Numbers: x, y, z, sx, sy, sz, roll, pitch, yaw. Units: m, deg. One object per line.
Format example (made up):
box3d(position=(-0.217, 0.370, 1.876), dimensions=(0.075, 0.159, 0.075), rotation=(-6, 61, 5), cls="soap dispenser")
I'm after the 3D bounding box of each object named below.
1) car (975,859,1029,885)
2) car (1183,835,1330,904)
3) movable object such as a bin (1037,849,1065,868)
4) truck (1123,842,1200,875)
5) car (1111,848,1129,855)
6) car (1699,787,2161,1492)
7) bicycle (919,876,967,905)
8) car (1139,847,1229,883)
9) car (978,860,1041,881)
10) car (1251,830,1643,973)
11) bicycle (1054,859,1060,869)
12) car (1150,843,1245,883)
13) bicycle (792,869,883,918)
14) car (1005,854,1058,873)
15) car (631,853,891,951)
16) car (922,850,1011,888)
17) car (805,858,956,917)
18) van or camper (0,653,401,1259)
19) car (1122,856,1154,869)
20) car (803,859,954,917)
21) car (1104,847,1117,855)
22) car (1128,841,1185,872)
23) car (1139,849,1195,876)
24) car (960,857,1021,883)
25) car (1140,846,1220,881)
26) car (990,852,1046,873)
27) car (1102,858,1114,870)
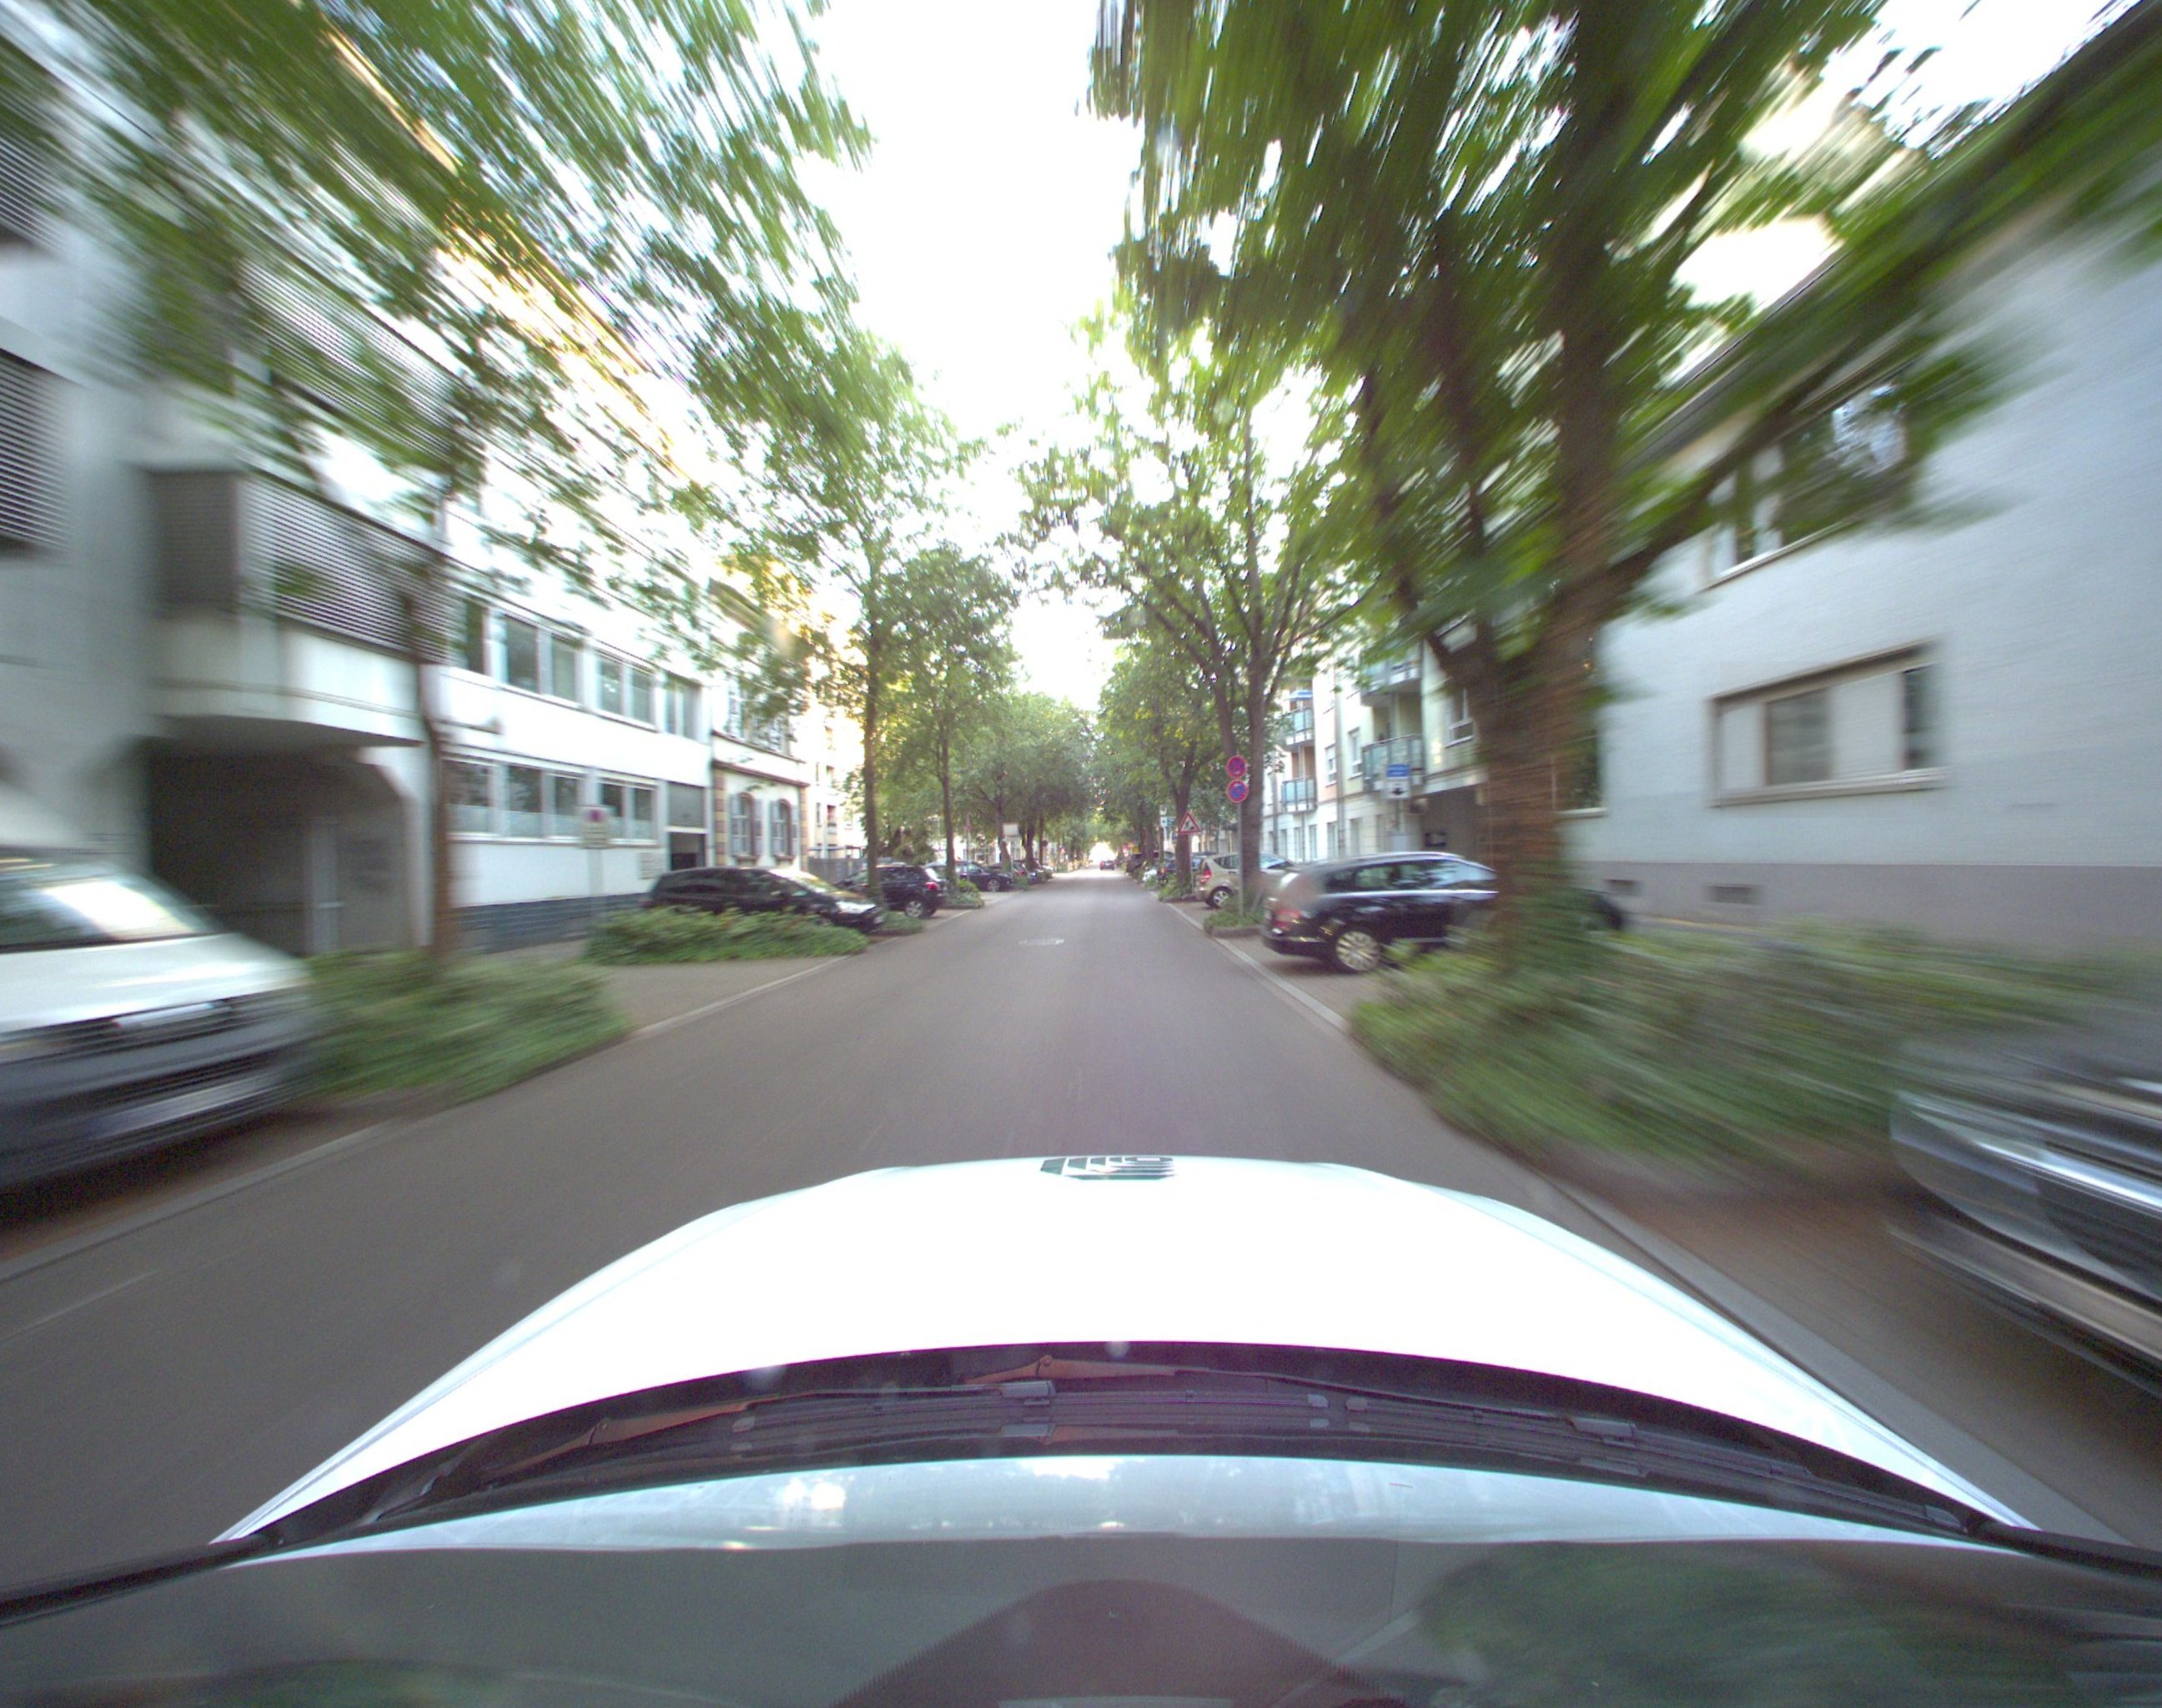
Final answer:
box3d(position=(-5.175, 1.167, 53.706), dimensions=(3.394, 1.609, 1.760), rotation=(-2, 0, -1), cls="car")
box3d(position=(5.076, 0.440, 23.974), dimensions=(3.848, 1.667, 1.926), rotation=(-4, 0, 1), cls="car")
box3d(position=(-4.035, 0.583, 109.948), dimensions=(3.654, 2.333, 2.583), rotation=(-2, 0, -1), cls="movable object such as a bin")
box3d(position=(6.601, 0.371, 67.367), dimensions=(5.983, 2.133, 2.261), rotation=(-6, 0, 1), cls="truck")
box3d(position=(9.468, -0.670, 197.883), dimensions=(3.976, 1.597, 1.999), rotation=(-2, 0, -2), cls="car")
box3d(position=(4.535, 0.524, 2.030), dimensions=(4.428, 1.523, 1.953), rotation=(-2, 0, 2), cls="car")
box3d(position=(-4.796, 1.259, 28.336), dimensions=(1.562, 0.937, 0.481), rotation=(-2, 0, -22), cls="bicycle")
box3d(position=(5.523, 0.569, 44.087), dimensions=(4.557, 1.552, 1.773), rotation=(-5, 0, 0), cls="car")
box3d(position=(-4.867, 1.098, 55.782), dimensions=(4.087, 1.379, 1.746), rotation=(-1, 0, -1), cls="car")
box3d(position=(4.563, 0.587, 10.736), dimensions=(4.336, 1.470, 1.734), rotation=(-4, 0, 6), cls="car")
box3d(position=(-2.806, 1.196, 95.650), dimensions=(0.599, 1.118, 1.800), rotation=(-2, 0, 2), cls="bicycle")
box3d(position=(5.380, 0.430, 37.933), dimensions=(3.978, 1.474, 1.911), rotation=(-5, 0, -3), cls="car")
box3d(position=(-5.558, 0.903, 18.653), dimensions=(1.895, 1.025, 0.479), rotation=(-2, 0, 0), cls="bicycle")
box3d(position=(-4.390, 0.839, 72.184), dimensions=(4.481, 1.581, 2.056), rotation=(0, -1, 2), cls="car")
box3d(position=(-6.309, 0.918, 16.429), dimensions=(4.524, 1.682, 1.620), rotation=(-2, 0, -3), cls="car")
box3d(position=(-6.099, 0.802, 43.585), dimensions=(4.403, 1.892, 2.000), rotation=(-1, 0, 0), cls="car")
box3d(position=(-5.856, 0.957, 24.176), dimensions=(3.975, 1.588, 1.827), rotation=(-2, 0, -1), cls="car")
box3d(position=(-6.714, 0.500, 4.146), dimensions=(4.799, 2.427, 1.946), rotation=(-2, 0, 1), cls="van or camper")
box3d(position=(7.954, 1.213, 114.142), dimensions=(4.417, 1.591, 1.630), rotation=(-2, -1, 3), cls="car")
box3d(position=(-5.968, 0.983, 24.304), dimensions=(3.973, 1.591, 1.789), rotation=(-1, 0, 1), cls="car")
box3d(position=(8.774, -0.875, 242.259), dimensions=(3.970, 2.013, 2.002), rotation=(-2, 0, 3), cls="car")
box3d(position=(6.452, 0.211, 69.968), dimensions=(4.603, 2.133, 2.037), rotation=(-6, -1, 1), cls="car")
box3d(position=(6.091, 0.586, 57.674), dimensions=(3.654, 1.548, 1.780), rotation=(-5, -2, -1), cls="car")
box3d(position=(-5.357, 0.939, 48.461), dimensions=(3.394, 1.442, 1.594), rotation=(-2, 0, -1), cls="car")
box3d(position=(5.972, 0.562, 49.224), dimensions=(4.379, 1.703, 1.891), rotation=(-5, 0, -7), cls="car")
box3d(position=(-5.156, 0.680, 66.974), dimensions=(4.383, 1.684, 2.063), rotation=(0, 0, -1), cls="car")
box3d(position=(3.543, 1.294, 106.159), dimensions=(1.495, 1.416, 3.715), rotation=(-2, 0, 2), cls="car")
